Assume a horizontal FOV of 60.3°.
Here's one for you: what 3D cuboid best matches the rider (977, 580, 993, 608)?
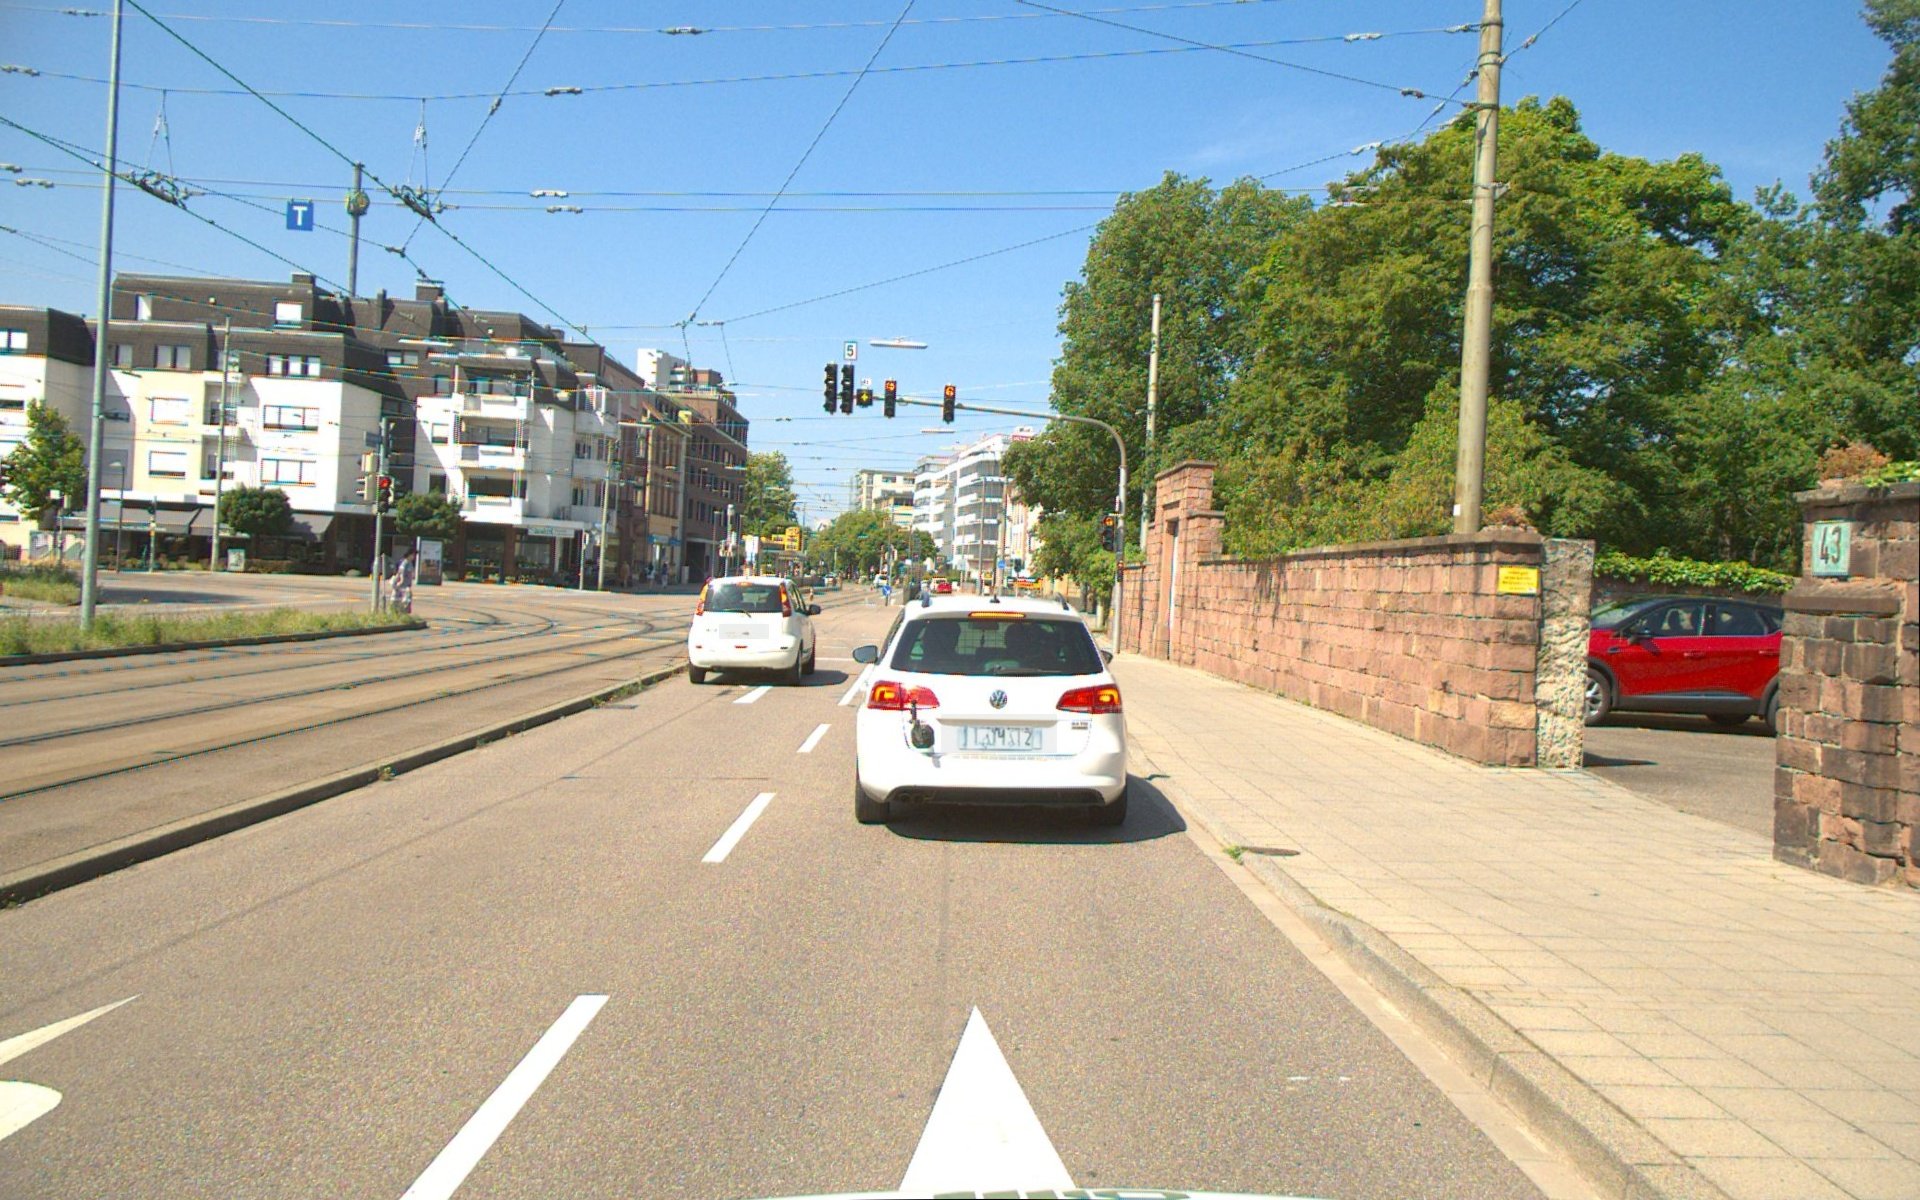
[{"bbox_3d":[1.597,-0.400,105.601,0.873,1.758,2.203,2,1,0],"label":"rider"}]

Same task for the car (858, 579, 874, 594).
[{"bbox_3d":[-10.752,-1.584,189.577,1.664,1.618,3.534,2,0,-2],"label":"car"}]

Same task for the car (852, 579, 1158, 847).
[{"bbox_3d":[0.270,0.633,11.492,1.742,1.516,3.847,1,1,0],"label":"car"}]

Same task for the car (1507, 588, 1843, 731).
[{"bbox_3d":[8.533,0.685,19.918,3.338,1.489,1.524,3,0,-1],"label":"car"}]

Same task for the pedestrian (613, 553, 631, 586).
[{"bbox_3d":[-21.618,-1.965,105.728,0.918,2.048,0.990,2,0,-5],"label":"pedestrian"}]

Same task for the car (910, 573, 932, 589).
[{"bbox_3d":[-4.994,-2.395,212.951,1.960,1.937,3.986,2,1,-14],"label":"car"}]

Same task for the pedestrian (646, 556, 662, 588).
[{"bbox_3d":[-19.948,-1.810,107.803,0.919,2.048,0.989,2,0,-9],"label":"pedestrian"}]

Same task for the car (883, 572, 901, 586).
[{"bbox_3d":[-10.562,-3.296,256.623,1.960,2.048,3.986,2,1,-14],"label":"car"}]

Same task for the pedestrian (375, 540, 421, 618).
[{"bbox_3d":[-13.113,-0.498,38.611,0.811,1.769,0.930,2,0,-8],"label":"pedestrian"}]

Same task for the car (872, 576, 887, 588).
[{"bbox_3d":[-11.218,-2.522,230.048,1.668,1.618,3.526,2,1,-11],"label":"car"}]

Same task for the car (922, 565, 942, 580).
[{"bbox_3d":[-3.935,-3.826,230.648,1.960,2.048,3.986,2,1,-14],"label":"car"}]

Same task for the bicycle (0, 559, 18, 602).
[{"bbox_3d":[-22.114,-0.460,36.556,2.159,0.937,0.545,2,0,-43],"label":"bicycle"}]

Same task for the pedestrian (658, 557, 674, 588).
[{"bbox_3d":[-20.123,-1.875,113.361,0.918,2.048,0.989,2,0,-6],"label":"pedestrian"}]

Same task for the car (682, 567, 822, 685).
[{"bbox_3d":[-3.149,0.347,25.731,1.695,1.624,4.010,2,1,-1],"label":"car"}]

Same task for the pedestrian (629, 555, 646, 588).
[{"bbox_3d":[-20.652,-1.830,105.945,0.918,2.048,0.989,2,0,-6],"label":"pedestrian"}]

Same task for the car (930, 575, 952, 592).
[{"bbox_3d":[-2.530,-2.199,216.371,1.960,2.048,3.986,2,1,-14],"label":"car"}]

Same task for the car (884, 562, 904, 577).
[{"bbox_3d":[-10.088,-4.643,251.693,1.961,2.048,3.983,5,0,-16],"label":"car"}]
